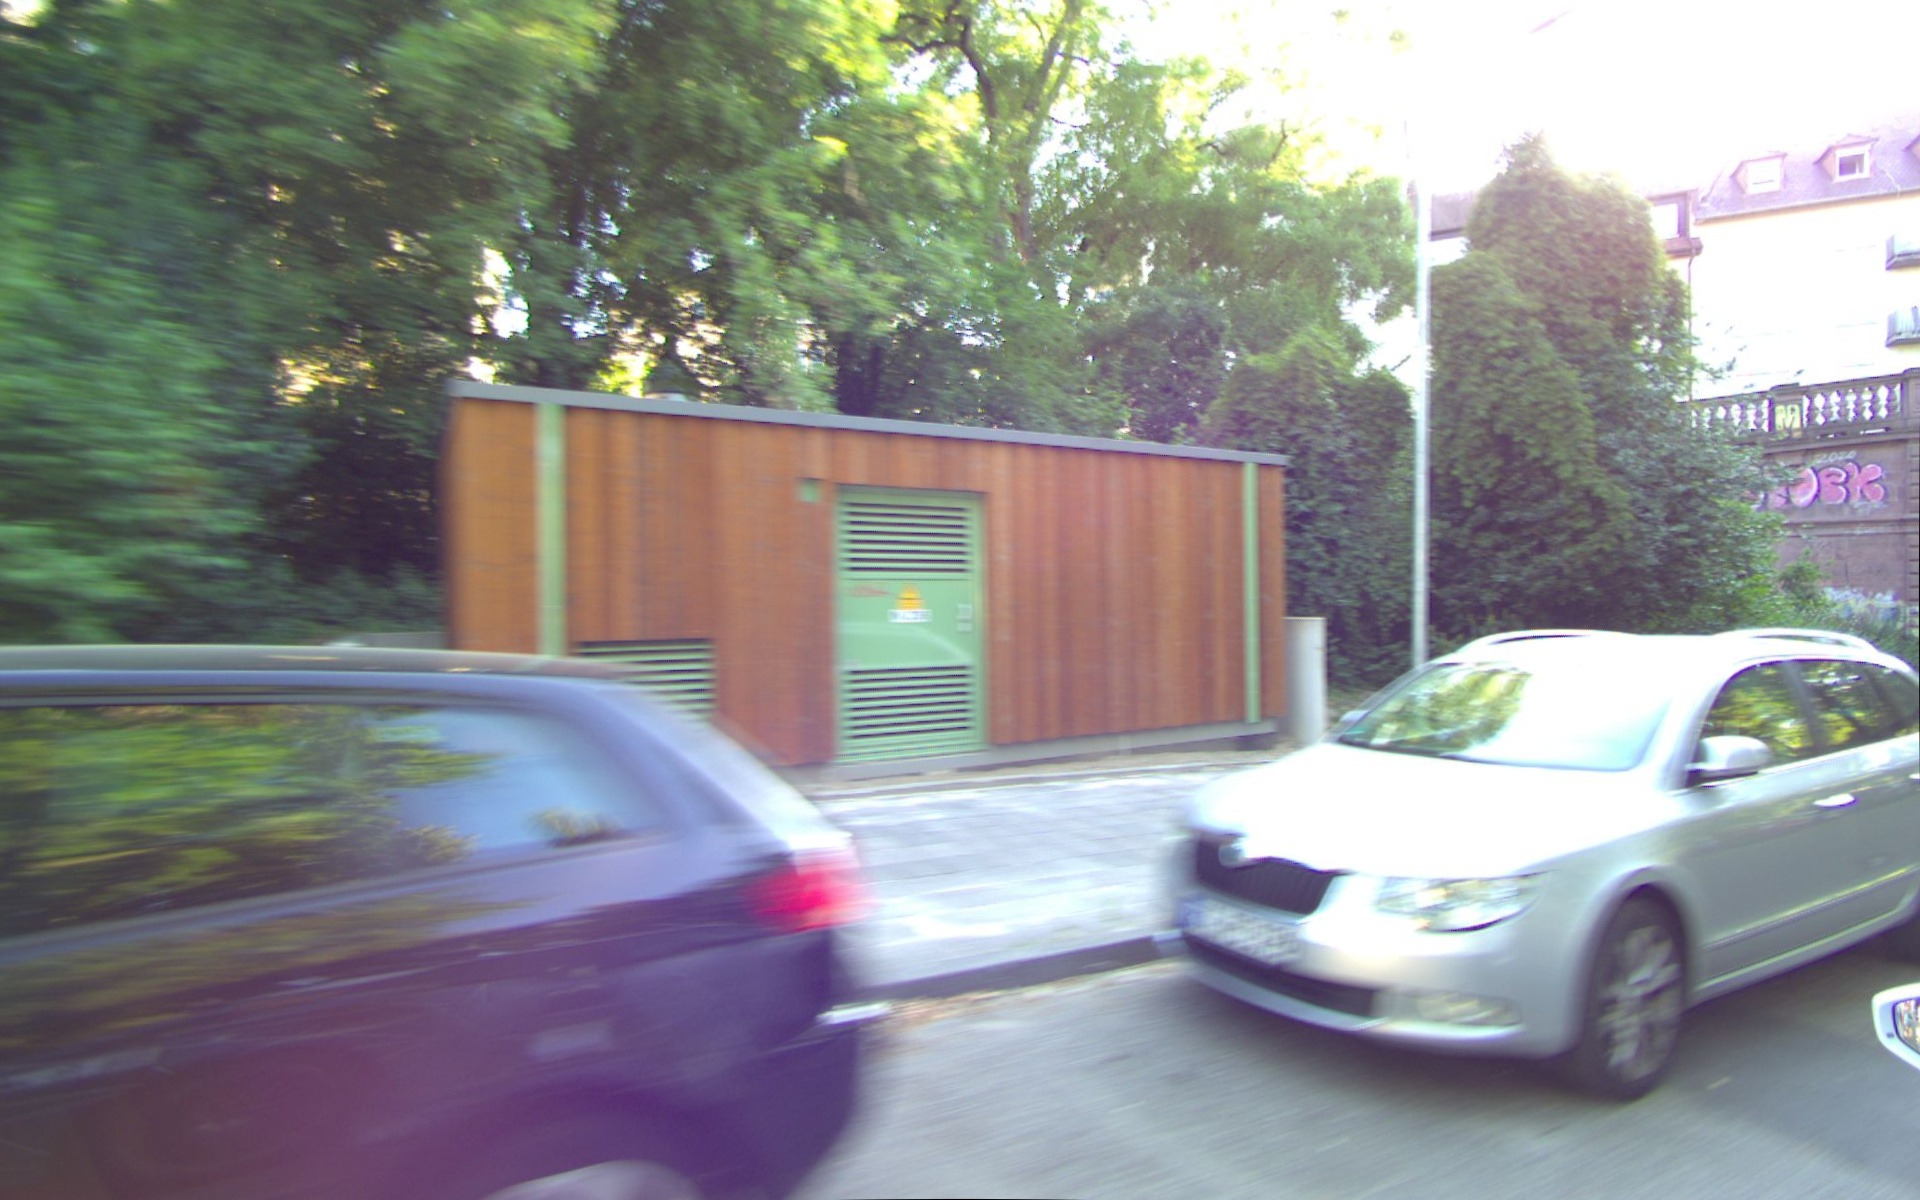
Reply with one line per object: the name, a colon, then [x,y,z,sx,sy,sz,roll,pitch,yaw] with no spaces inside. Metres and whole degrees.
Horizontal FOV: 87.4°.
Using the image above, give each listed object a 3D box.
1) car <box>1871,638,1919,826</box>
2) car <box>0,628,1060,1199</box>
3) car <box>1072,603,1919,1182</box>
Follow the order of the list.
car: [9.849,1.106,8.830,4.183,1.527,1.690,2,-3,-33]
car: [-1.997,0.770,1.820,4.143,1.418,1.692,2,-3,-29]
car: [2.823,0.855,4.516,4.495,1.517,1.692,2,-3,-29]
